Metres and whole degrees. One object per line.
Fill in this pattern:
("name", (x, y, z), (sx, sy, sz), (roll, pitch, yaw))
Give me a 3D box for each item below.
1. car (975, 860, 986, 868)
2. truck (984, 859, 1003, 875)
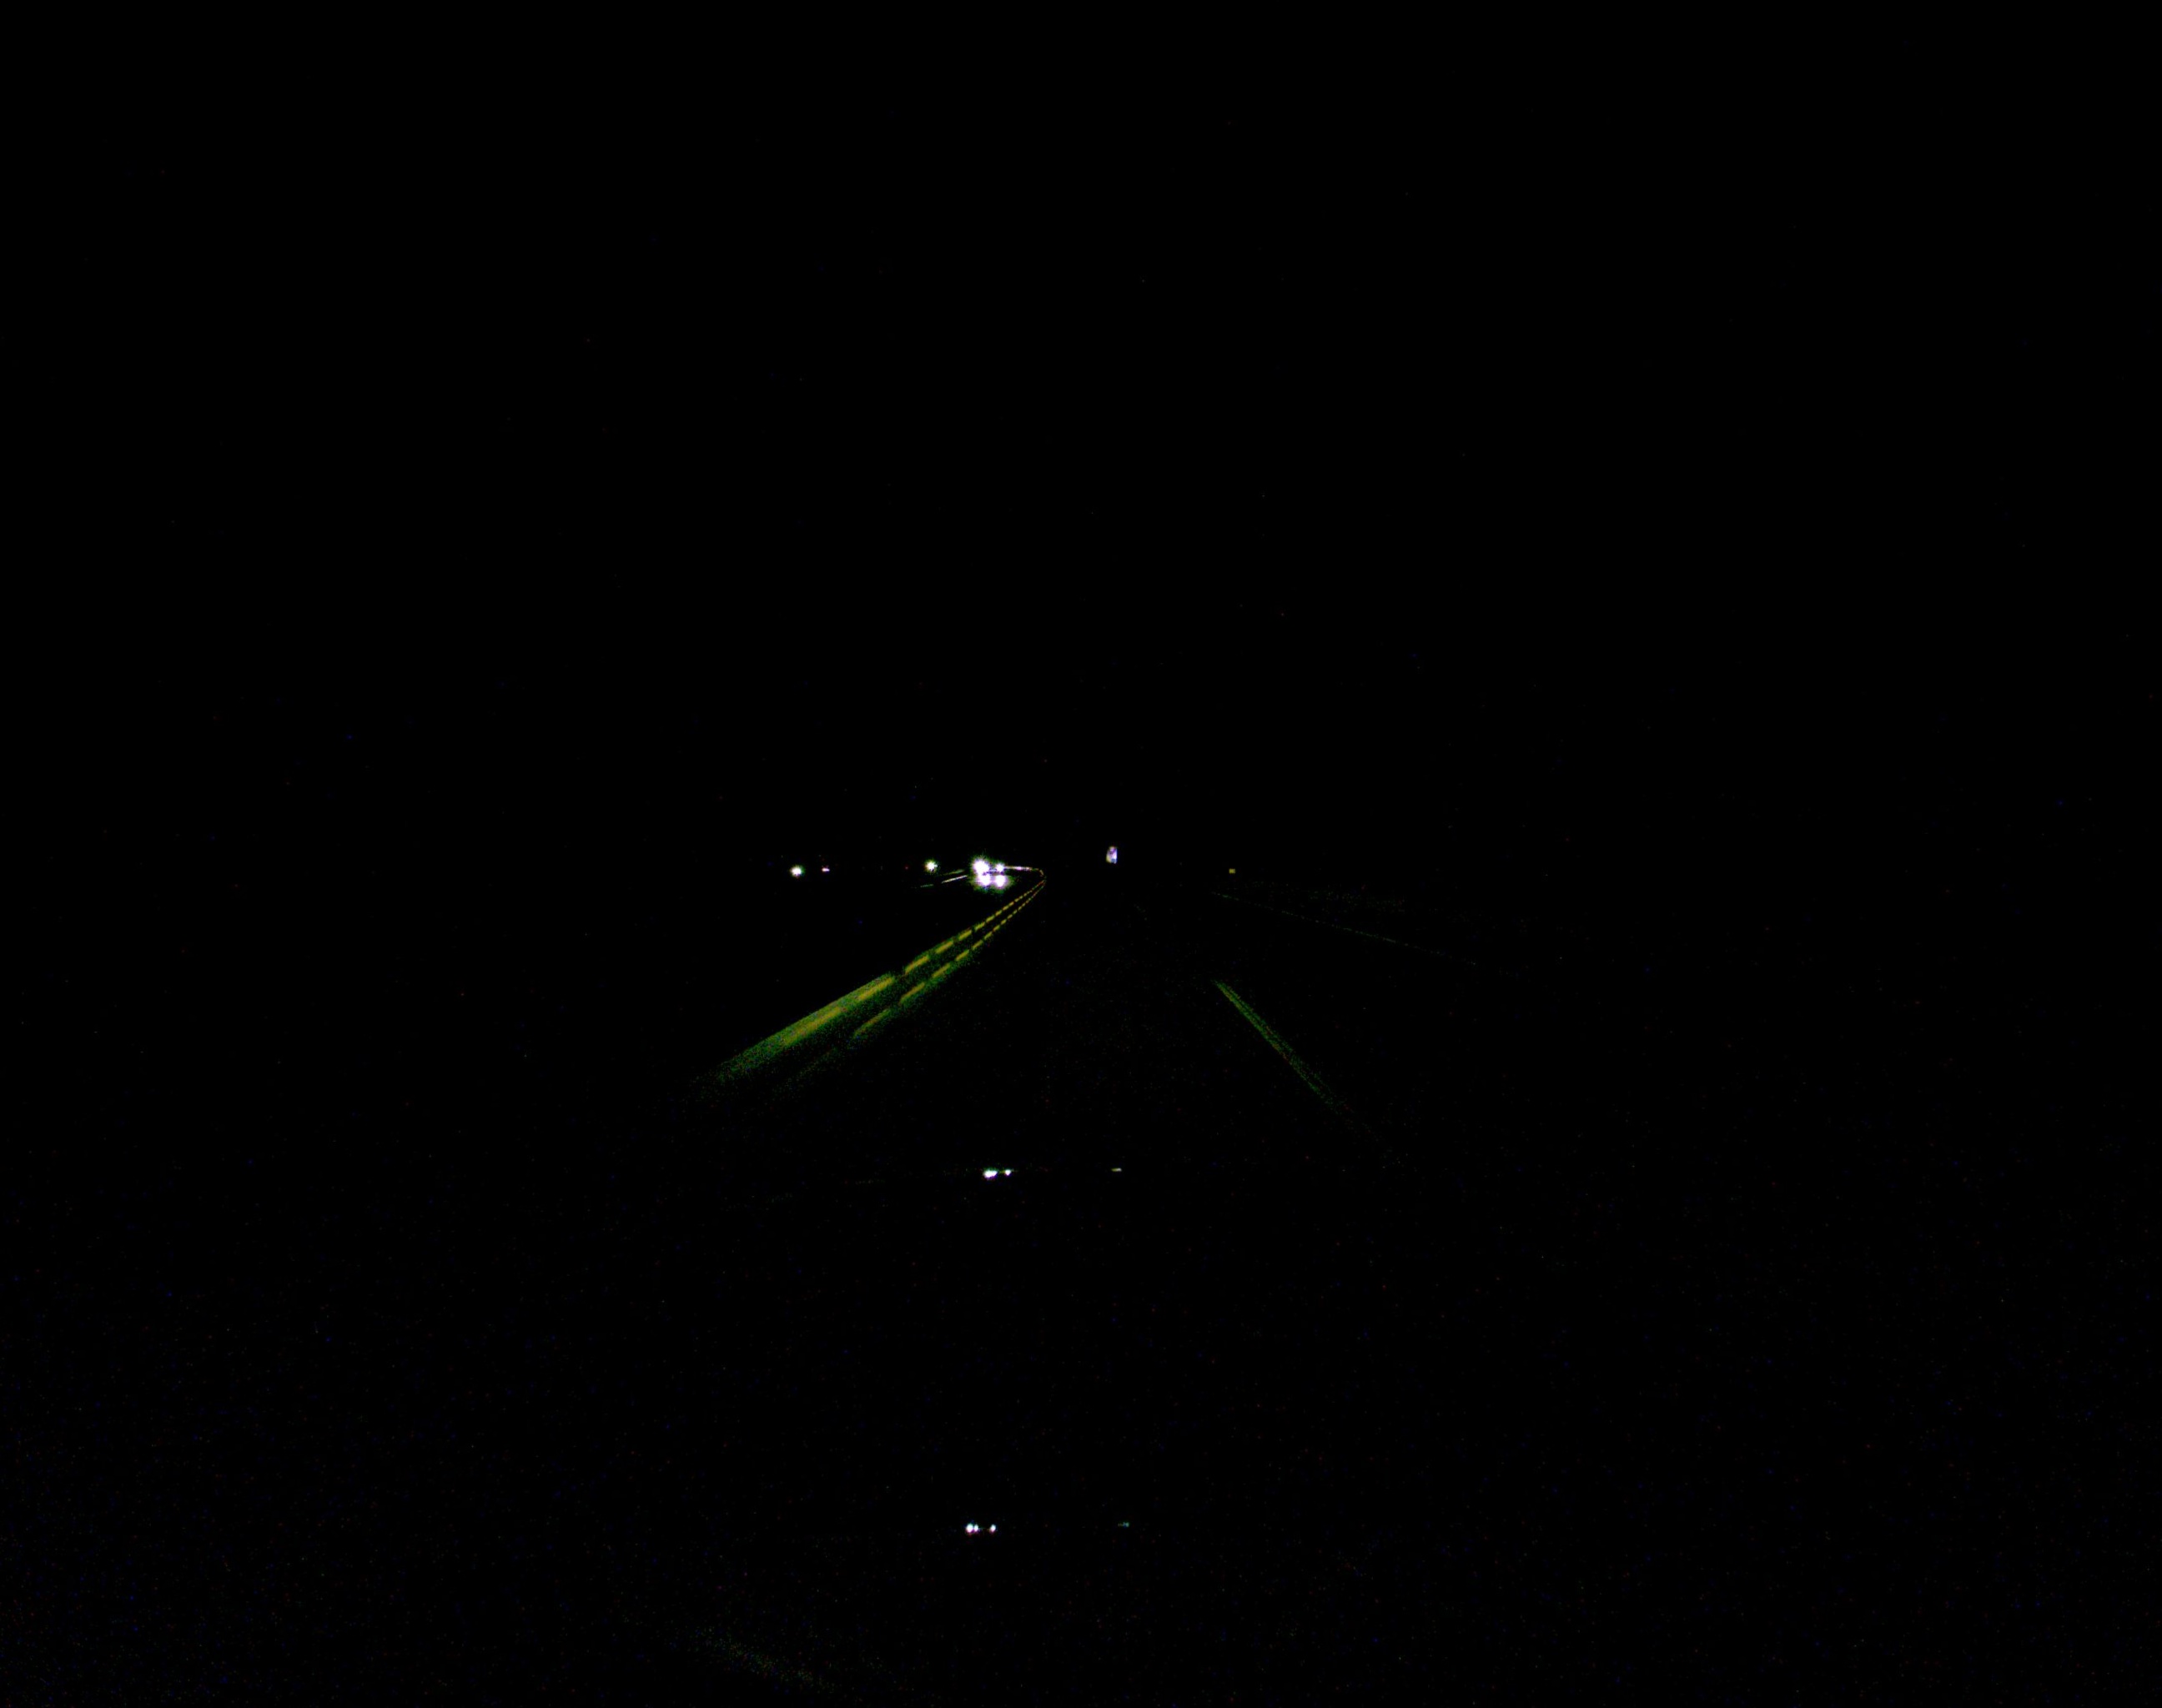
("car", (-18.296, 1.804, 148.702), (1.712, 1.443, 4.471), (-2, -1, -10))
("truck", (-8.295, 1.266, 77.389), (1.680, 1.470, 4.146), (0, -1, -4))
